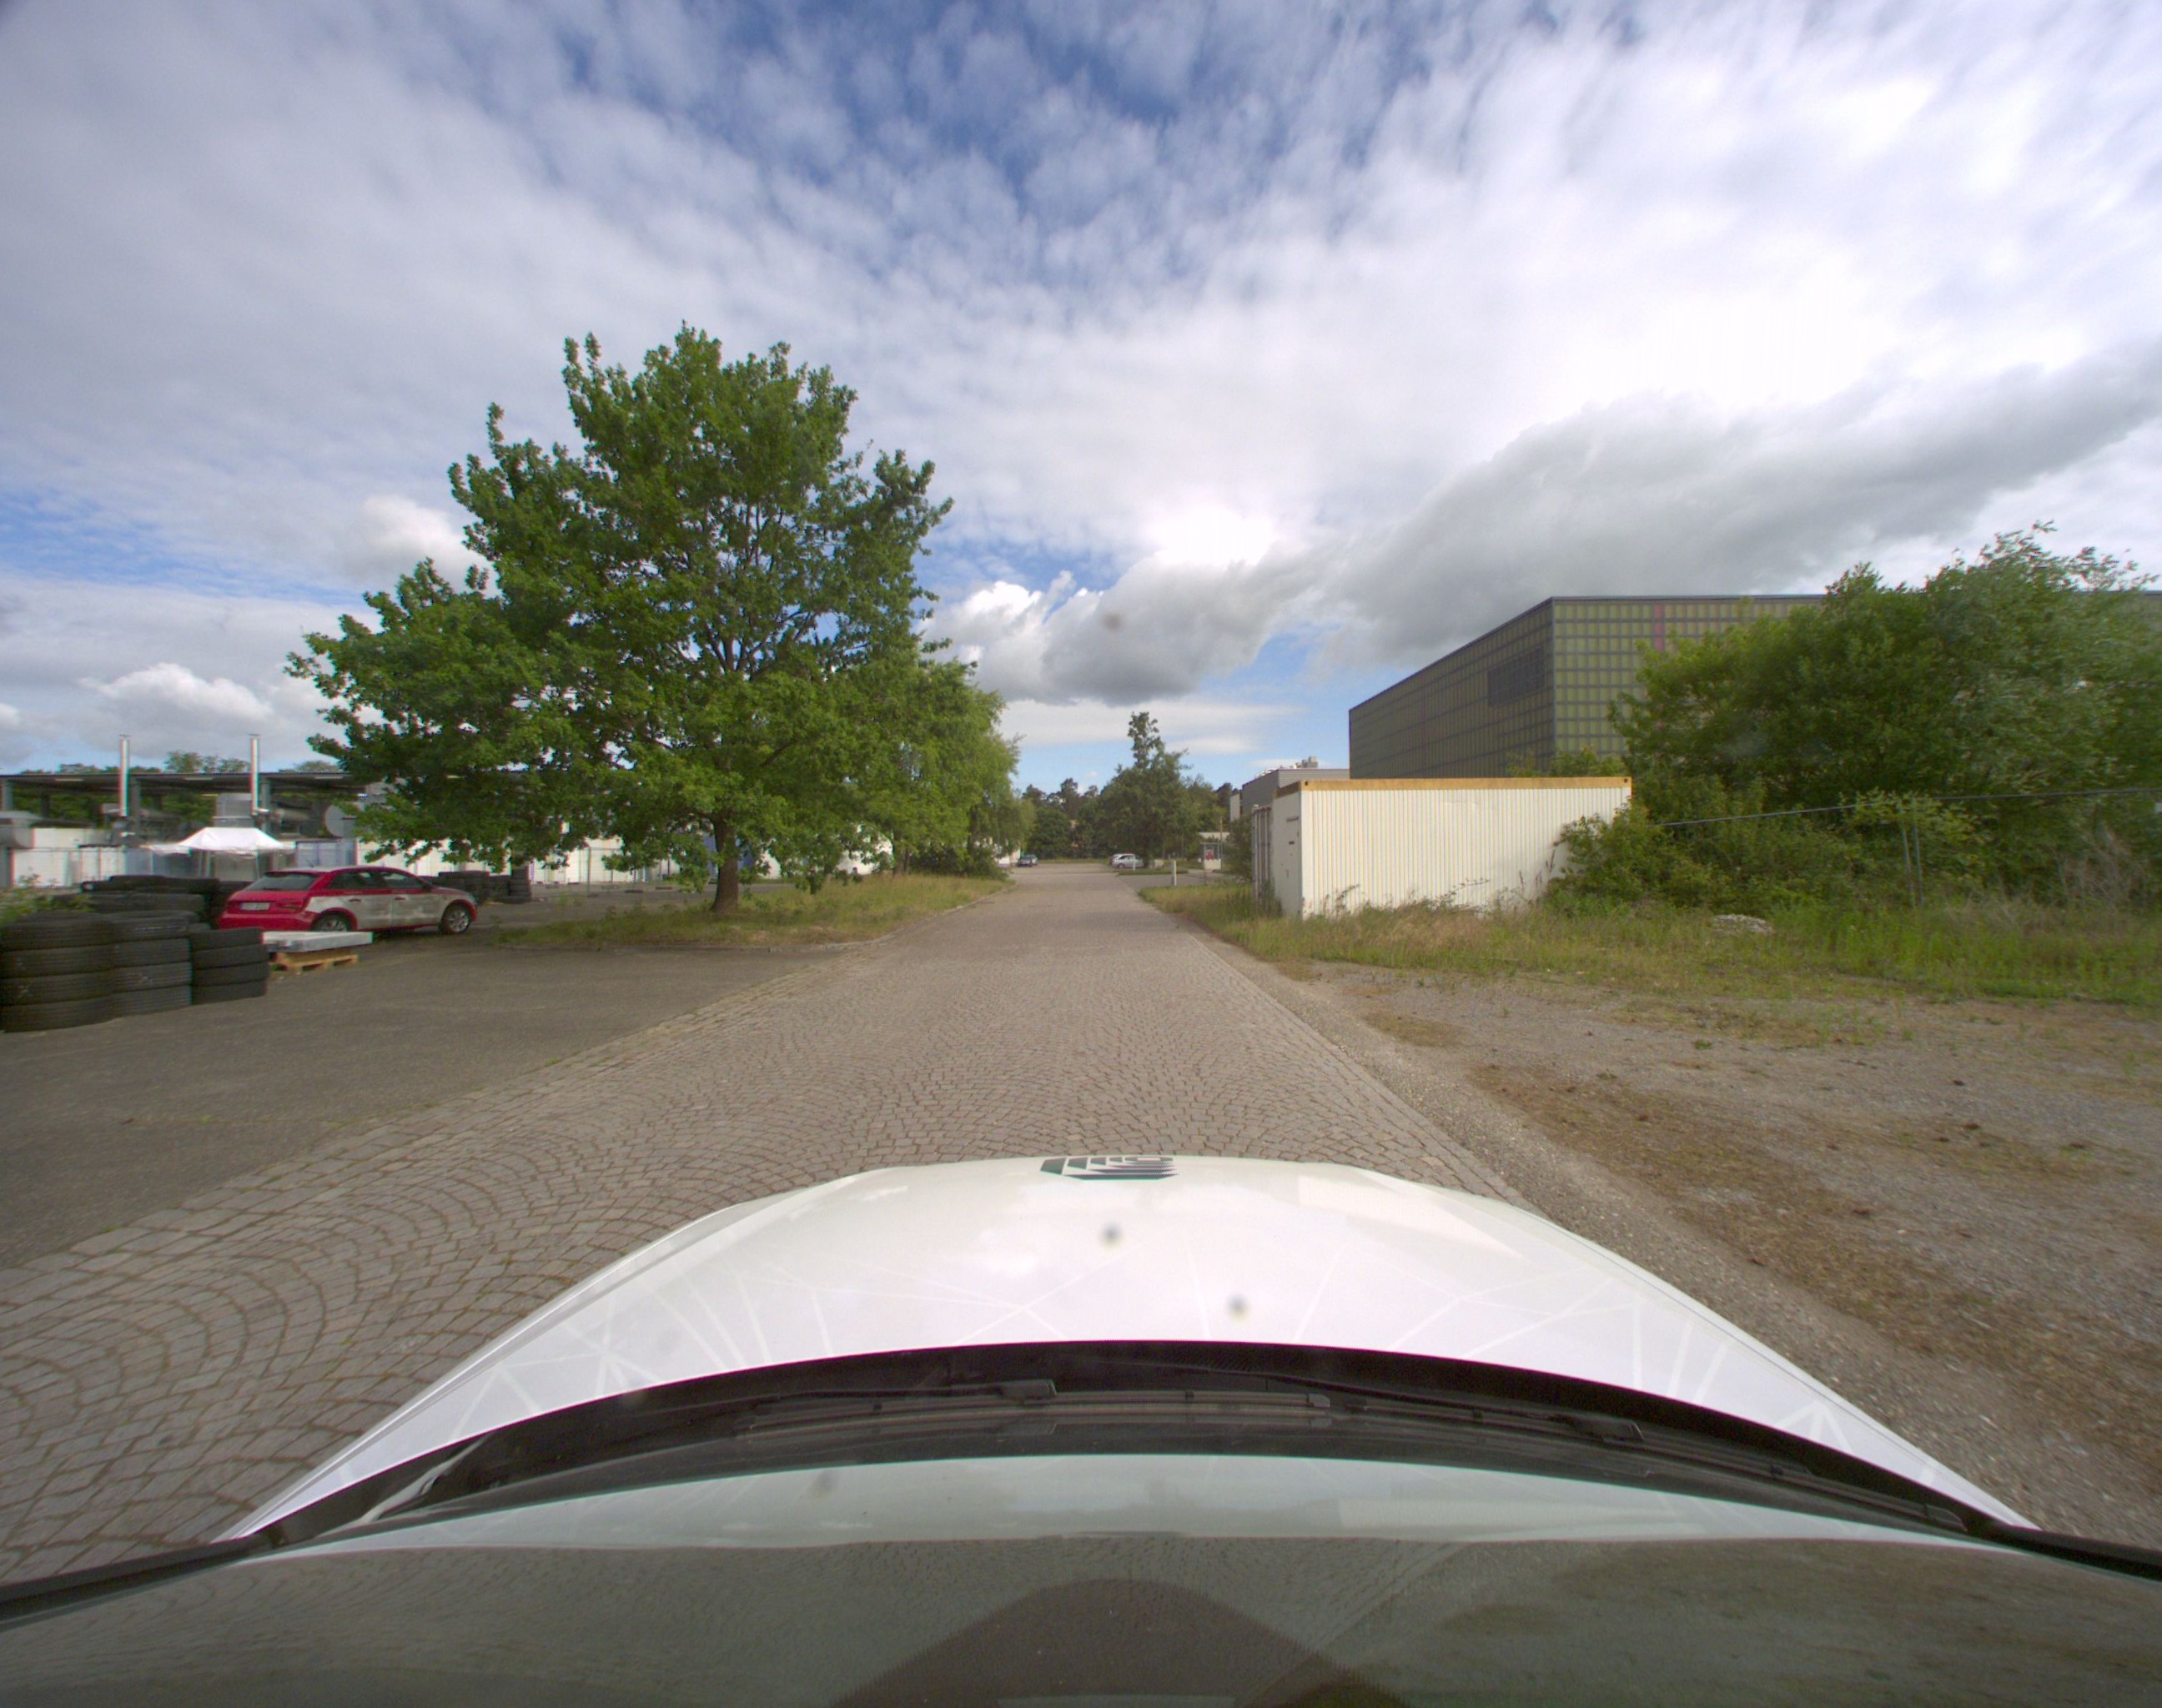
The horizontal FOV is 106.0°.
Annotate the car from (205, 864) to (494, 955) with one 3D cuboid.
[{"bbox_3d":[-13.739,0.963,15.679,1.617,1.433,4.071,-1,0,6],"label":"car"}]

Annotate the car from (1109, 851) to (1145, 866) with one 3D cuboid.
[{"bbox_3d":[5.186,0.483,91.862,3.971,1.475,1.653,-3,0,0],"label":"car"}]

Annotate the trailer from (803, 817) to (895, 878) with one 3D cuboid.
[{"bbox_3d":[-14.968,-0.376,53.520,2.615,3.598,10.184,-1,0,3],"label":"trailer"}]

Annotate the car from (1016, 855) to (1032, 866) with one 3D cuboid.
[{"bbox_3d":[-7.362,0.825,105.549,1.642,1.369,3.998,-1,0,0],"label":"car"}]

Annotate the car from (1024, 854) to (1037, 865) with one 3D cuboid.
[{"bbox_3d":[-7.174,0.740,115.892,1.642,1.458,3.998,-1,0,0],"label":"car"}]

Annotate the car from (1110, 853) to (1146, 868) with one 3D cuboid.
[{"bbox_3d":[4.829,0.688,84.034,3.510,1.362,1.622,-3,0,0],"label":"car"}]

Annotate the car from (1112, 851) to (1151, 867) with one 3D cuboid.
[{"bbox_3d":[5.386,0.529,86.731,3.971,1.448,1.653,-3,0,0],"label":"car"}]
